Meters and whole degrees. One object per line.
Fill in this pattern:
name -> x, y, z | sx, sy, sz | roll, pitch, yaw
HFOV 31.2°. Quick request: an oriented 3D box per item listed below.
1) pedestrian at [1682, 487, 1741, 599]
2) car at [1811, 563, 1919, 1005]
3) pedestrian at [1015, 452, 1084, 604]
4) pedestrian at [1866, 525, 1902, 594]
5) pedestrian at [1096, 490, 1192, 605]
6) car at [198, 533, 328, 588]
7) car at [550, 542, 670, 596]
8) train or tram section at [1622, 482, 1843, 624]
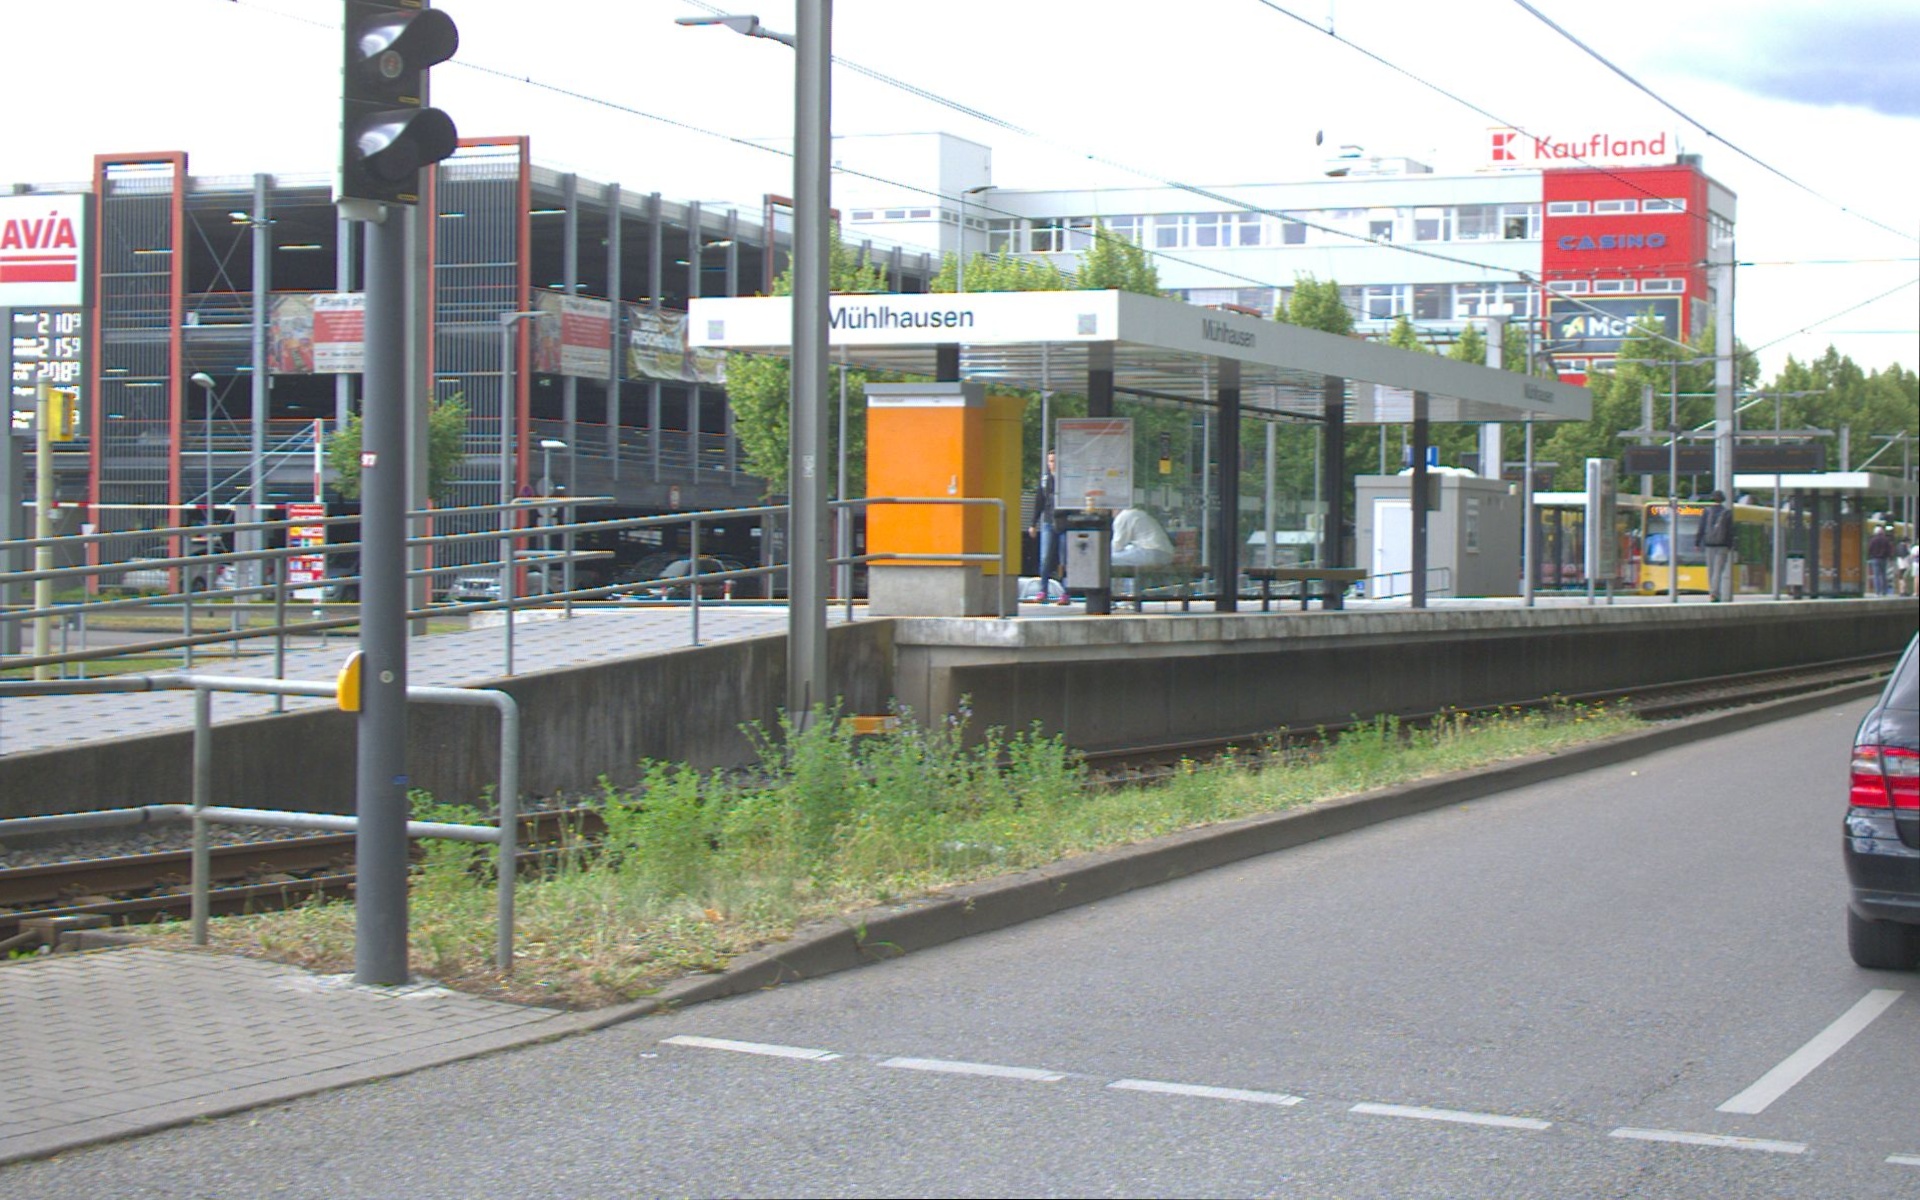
pedestrian -> 11.771, -0.881, 53.843 | 0.749, 1.738, 0.936 | 0, 0, 22
car -> 4.637, 0.633, 13.338 | 1.835, 1.473, 4.410 | 2, 1, 24
pedestrian -> 0.965, -0.769, 37.119 | 0.570, 1.615, 0.585 | 0, 0, 22
pedestrian -> 22.495, -0.979, 83.687 | 0.772, 1.672, 0.790 | 0, 0, 22
pedestrian -> 1.930, -0.547, 35.978 | 0.770, 1.185, 0.727 | 1, 0, 26
car -> -18.650, -1.039, 92.093 | 1.718, 1.410, 3.556 | 0, 0, 23
car -> -10.110, -0.885, 99.432 | 1.779, 1.534, 3.995 | 0, 0, 22
train or tram section -> 23.341, -1.371, 102.744 | 2.760, 3.869, 18.607 | 1, 1, 24
